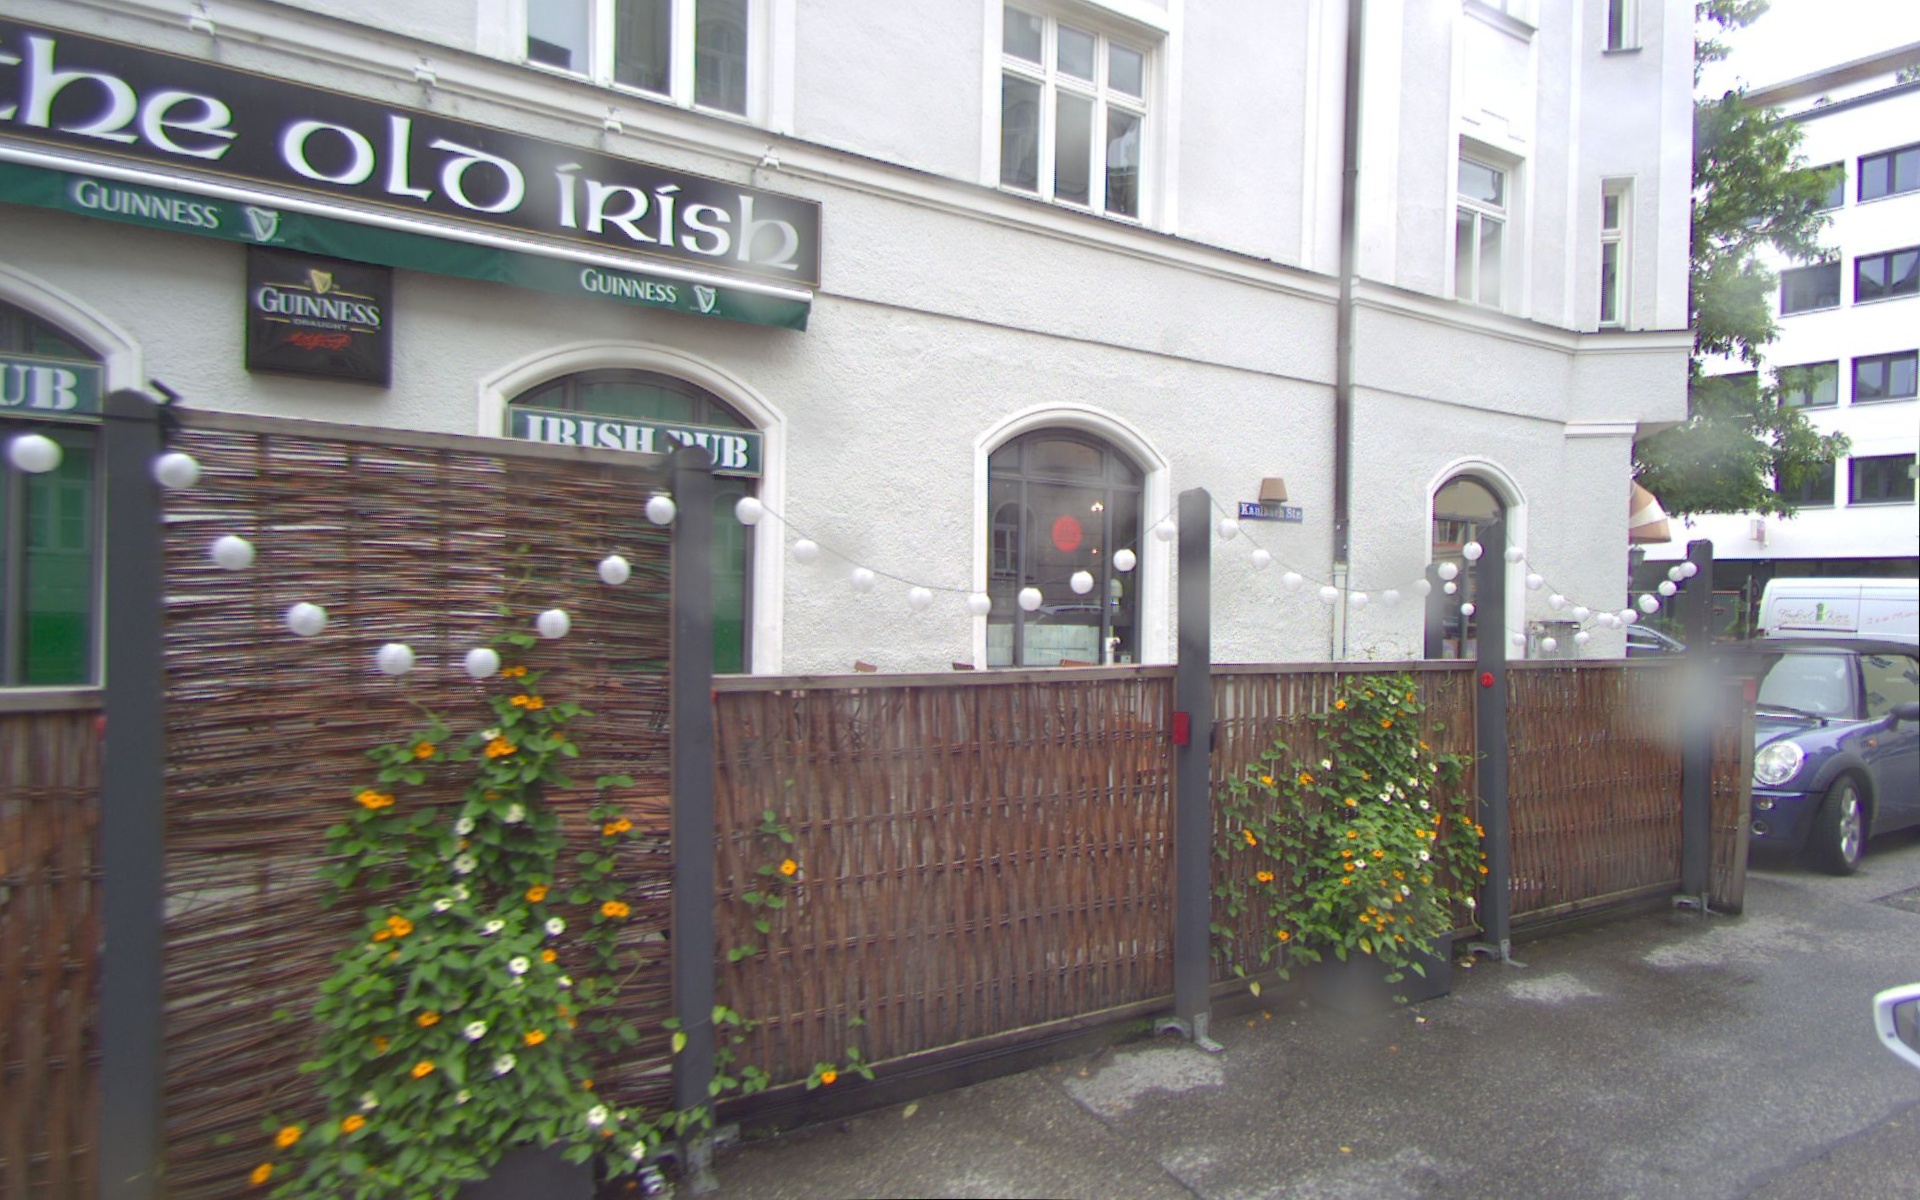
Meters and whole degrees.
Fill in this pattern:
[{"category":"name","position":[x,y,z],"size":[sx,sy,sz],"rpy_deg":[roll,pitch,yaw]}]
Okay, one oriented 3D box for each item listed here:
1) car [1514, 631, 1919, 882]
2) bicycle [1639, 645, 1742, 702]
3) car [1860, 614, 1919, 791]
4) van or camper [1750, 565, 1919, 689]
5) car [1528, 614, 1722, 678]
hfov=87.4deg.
[{"category":"car","position":[6.115,0.959,7.407],"size":[3.950,1.408,1.700],"rpy_deg":[1,-2,-28]},{"category":"bicycle","position":[14.119,1.395,19.470],"size":[1.537,0.959,0.897],"rpy_deg":[3,0,34]},{"category":"car","position":[10.693,0.983,9.858],"size":[3.899,1.618,1.669],"rpy_deg":[2,-2,-30]},{"category":"van or camper","position":[21.769,0.641,22.713],"size":[1.857,2.712,5.857],"rpy_deg":[3,-1,-39]},{"category":"car","position":[17.794,1.205,26.997],"size":[1.788,1.447,4.014],"rpy_deg":[5,-2,-43]}]
